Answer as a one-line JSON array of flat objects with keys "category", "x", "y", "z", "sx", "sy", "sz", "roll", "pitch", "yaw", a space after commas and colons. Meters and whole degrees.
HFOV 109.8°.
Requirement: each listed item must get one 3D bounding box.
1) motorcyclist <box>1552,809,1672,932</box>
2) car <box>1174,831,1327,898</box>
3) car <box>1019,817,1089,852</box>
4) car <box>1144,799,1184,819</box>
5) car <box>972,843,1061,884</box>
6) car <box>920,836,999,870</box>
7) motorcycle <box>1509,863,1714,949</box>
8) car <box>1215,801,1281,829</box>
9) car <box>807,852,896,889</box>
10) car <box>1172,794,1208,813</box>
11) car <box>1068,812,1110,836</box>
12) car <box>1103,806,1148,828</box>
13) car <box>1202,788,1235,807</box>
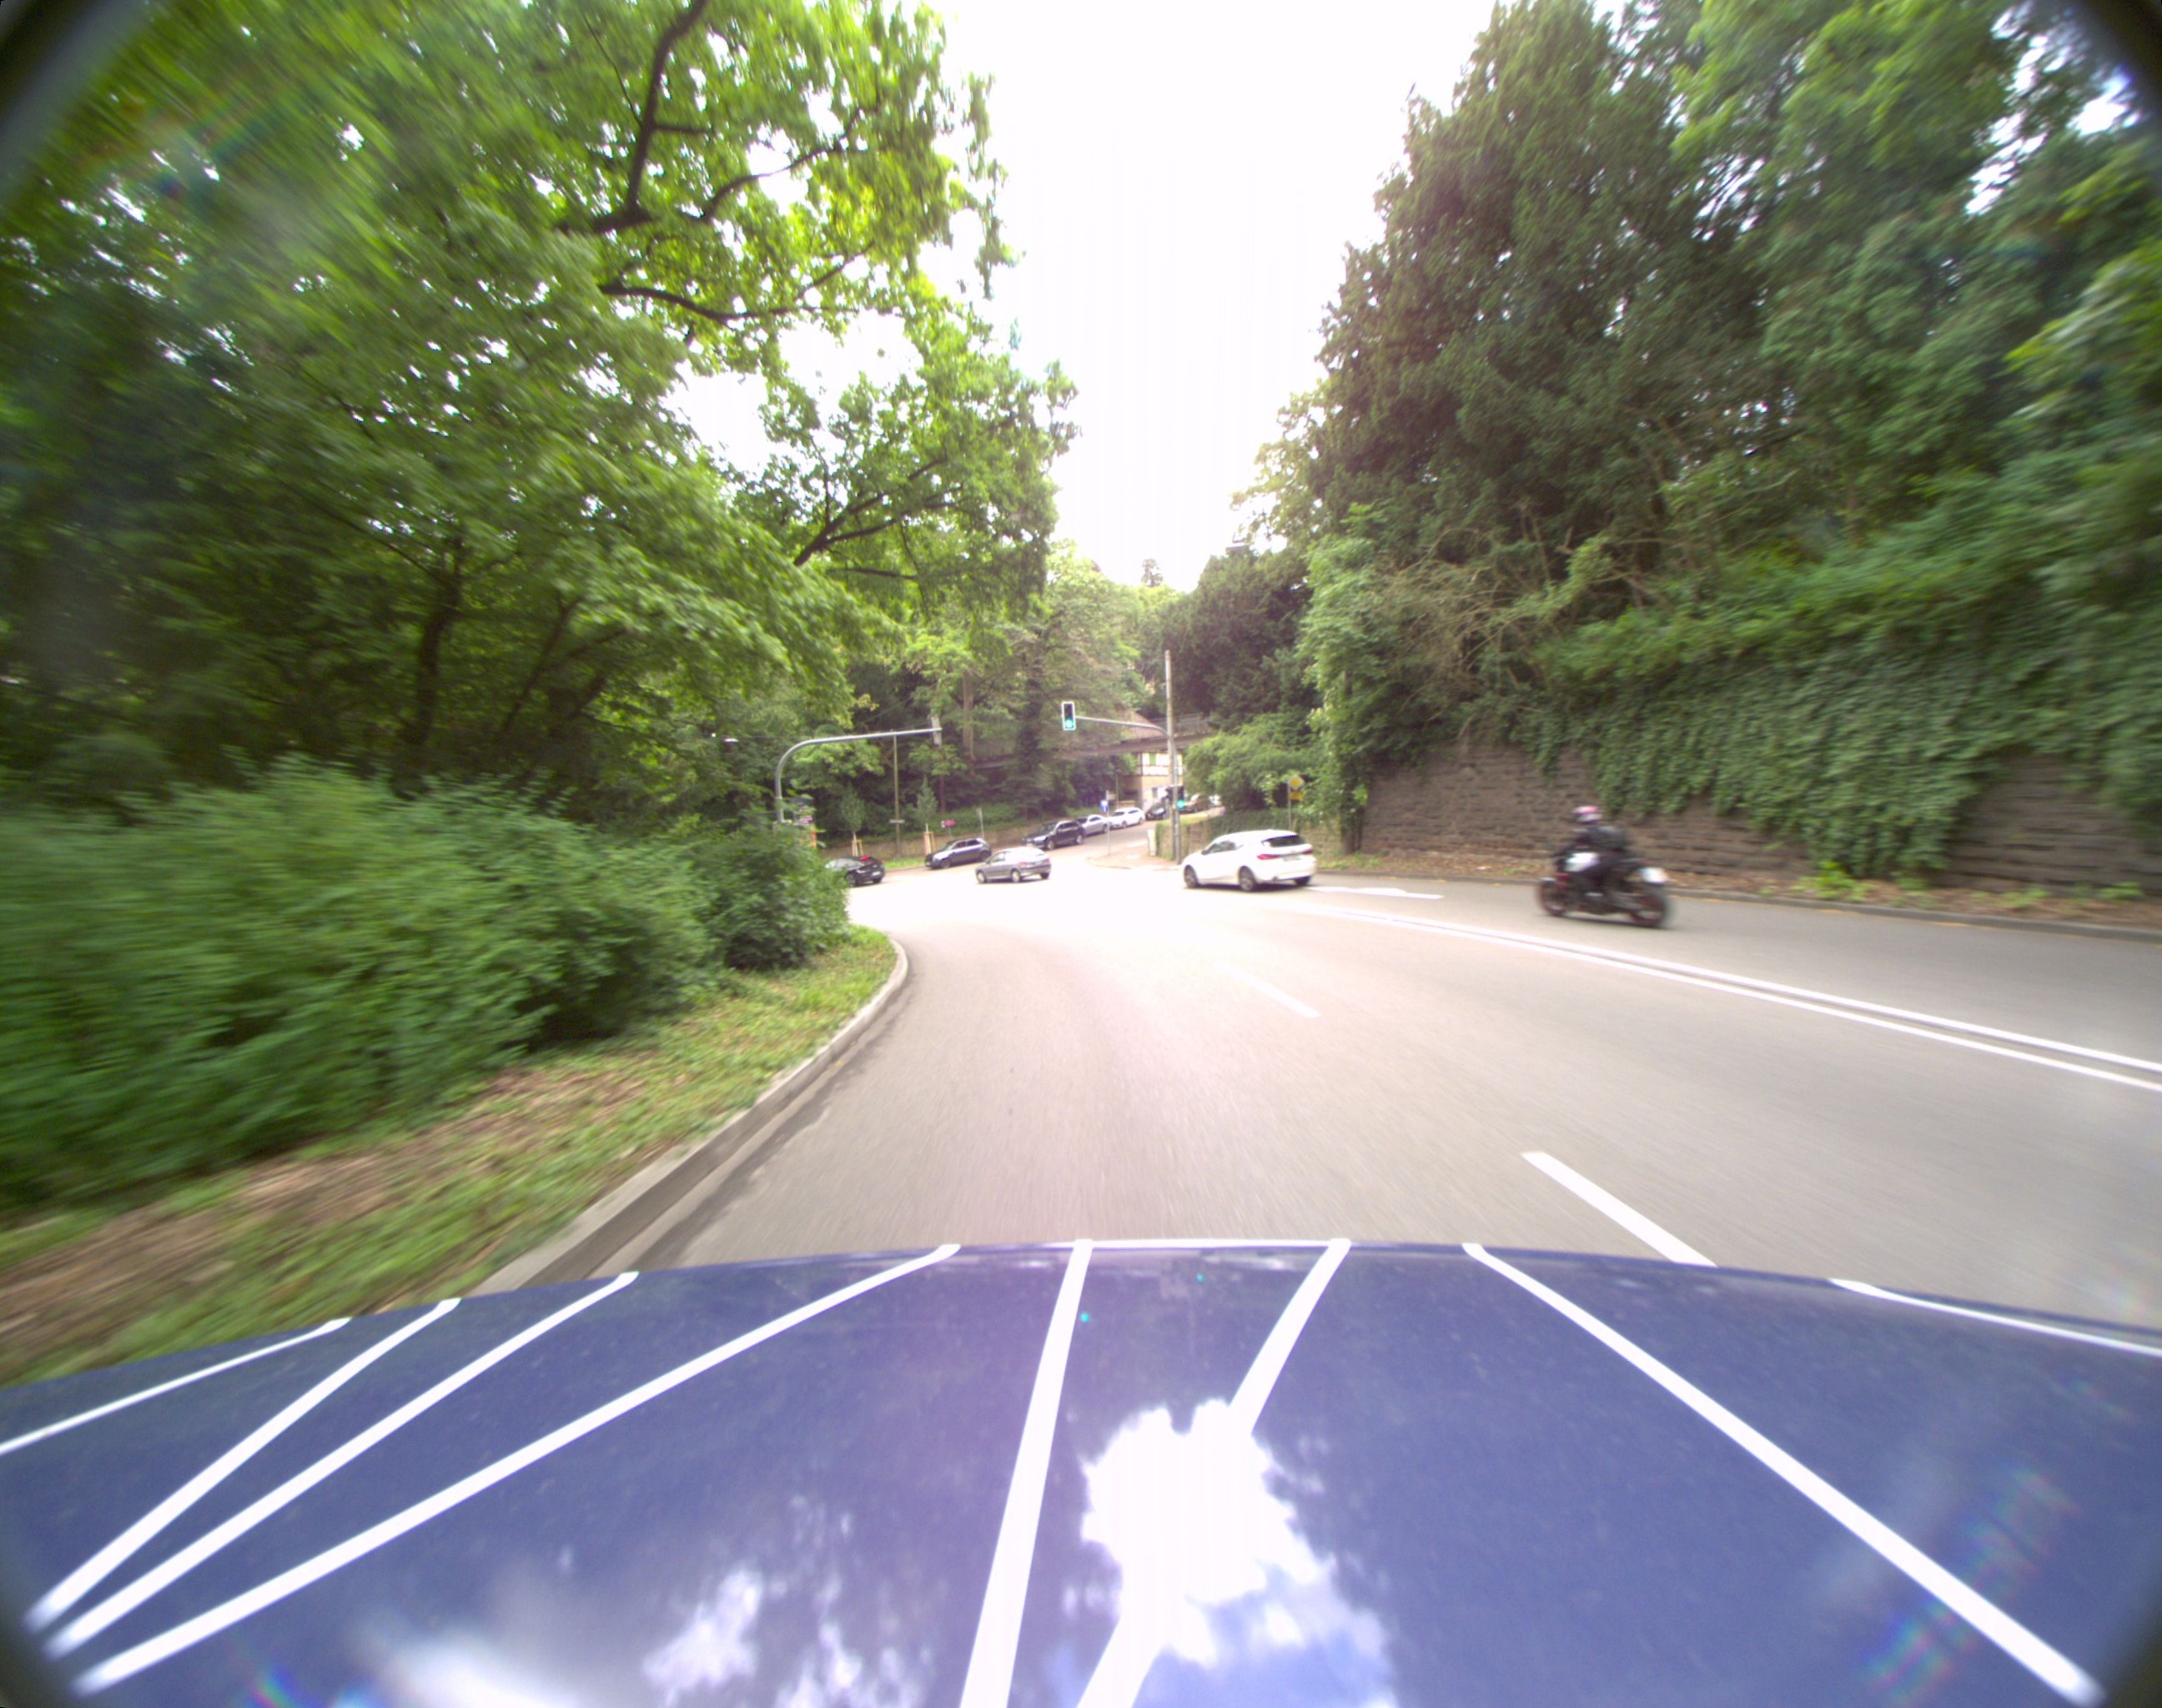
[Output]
[{"category": "motorcyclist", "x": 7.046, "y": 0.189, "z": 10.139, "sx": 0.749, "sy": 1.521, "sz": 1.093, "roll": -3, "pitch": 3, "yaw": -10}, {"category": "car", "x": 4.295, "y": 0.218, "z": 19.988, "sx": 1.753, "sy": 1.408, "sz": 4.321, "roll": -7, "pitch": 3, "yaw": -21}, {"category": "car", "x": -1.712, "y": -1.310, "z": 49.265, "sx": 1.803, "sy": 1.676, "sz": 4.548, "roll": -1, "pitch": 7, "yaw": 40}, {"category": "car", "x": 7.163, "y": -3.893, "z": 65.517, "sx": 1.598, "sy": 1.323, "sz": 3.916, "roll": 1, "pitch": 9, "yaw": 36}, {"category": "car", "x": -2.740, "y": 0.414, "z": 31.786, "sx": 1.614, "sy": 1.410, "sz": 3.745, "roll": -9, "pitch": 4, "yaw": -42}, {"category": "car", "x": -7.053, "y": -0.101, "z": 44.264, "sx": 4.004, "sy": 1.352, "sz": 1.749, "roll": -10, "pitch": 7, "yaw": -35}, {"category": "motorcycle", "x": 7.051, "y": 0.639, "z": 10.309, "sx": 0.811, "sy": 0.885, "sz": 2.426, "roll": -3, "pitch": 2, "yaw": -10}, {"category": "car", "x": 11.314, "y": -2.614, "z": 51.486, "sx": 3.990, "sy": 1.544, "sz": 1.777, "roll": -2, "pitch": 7, "yaw": 26}, {"category": "car", "x": -11.882, "y": 0.860, "z": 39.334, "sx": 4.387, "sy": 1.535, "sz": 1.637, "roll": -4, "pitch": 4, "yaw": 28}, {"category": "car", "x": 10.034, "y": -4.658, "z": 69.565, "sx": 1.598, "sy": 1.323, "sz": 3.916, "roll": 1, "pitch": 9, "yaw": 36}, {"category": "car", "x": 0.607, "y": -2.249, "z": 56.669, "sx": 1.501, "sy": 1.441, "sz": 3.268, "roll": 1, "pitch": 10, "yaw": 34}, {"category": "car", "x": 3.602, "y": -3.030, "z": 61.194, "sx": 1.624, "sy": 1.323, "sz": 4.027, "roll": 1, "pitch": 9, "yaw": 36}, {"category": "car", "x": 13.339, "y": -5.490, "z": 73.651, "sx": 1.598, "sy": 1.323, "sz": 3.915, "roll": 1, "pitch": 9, "yaw": 36}]
